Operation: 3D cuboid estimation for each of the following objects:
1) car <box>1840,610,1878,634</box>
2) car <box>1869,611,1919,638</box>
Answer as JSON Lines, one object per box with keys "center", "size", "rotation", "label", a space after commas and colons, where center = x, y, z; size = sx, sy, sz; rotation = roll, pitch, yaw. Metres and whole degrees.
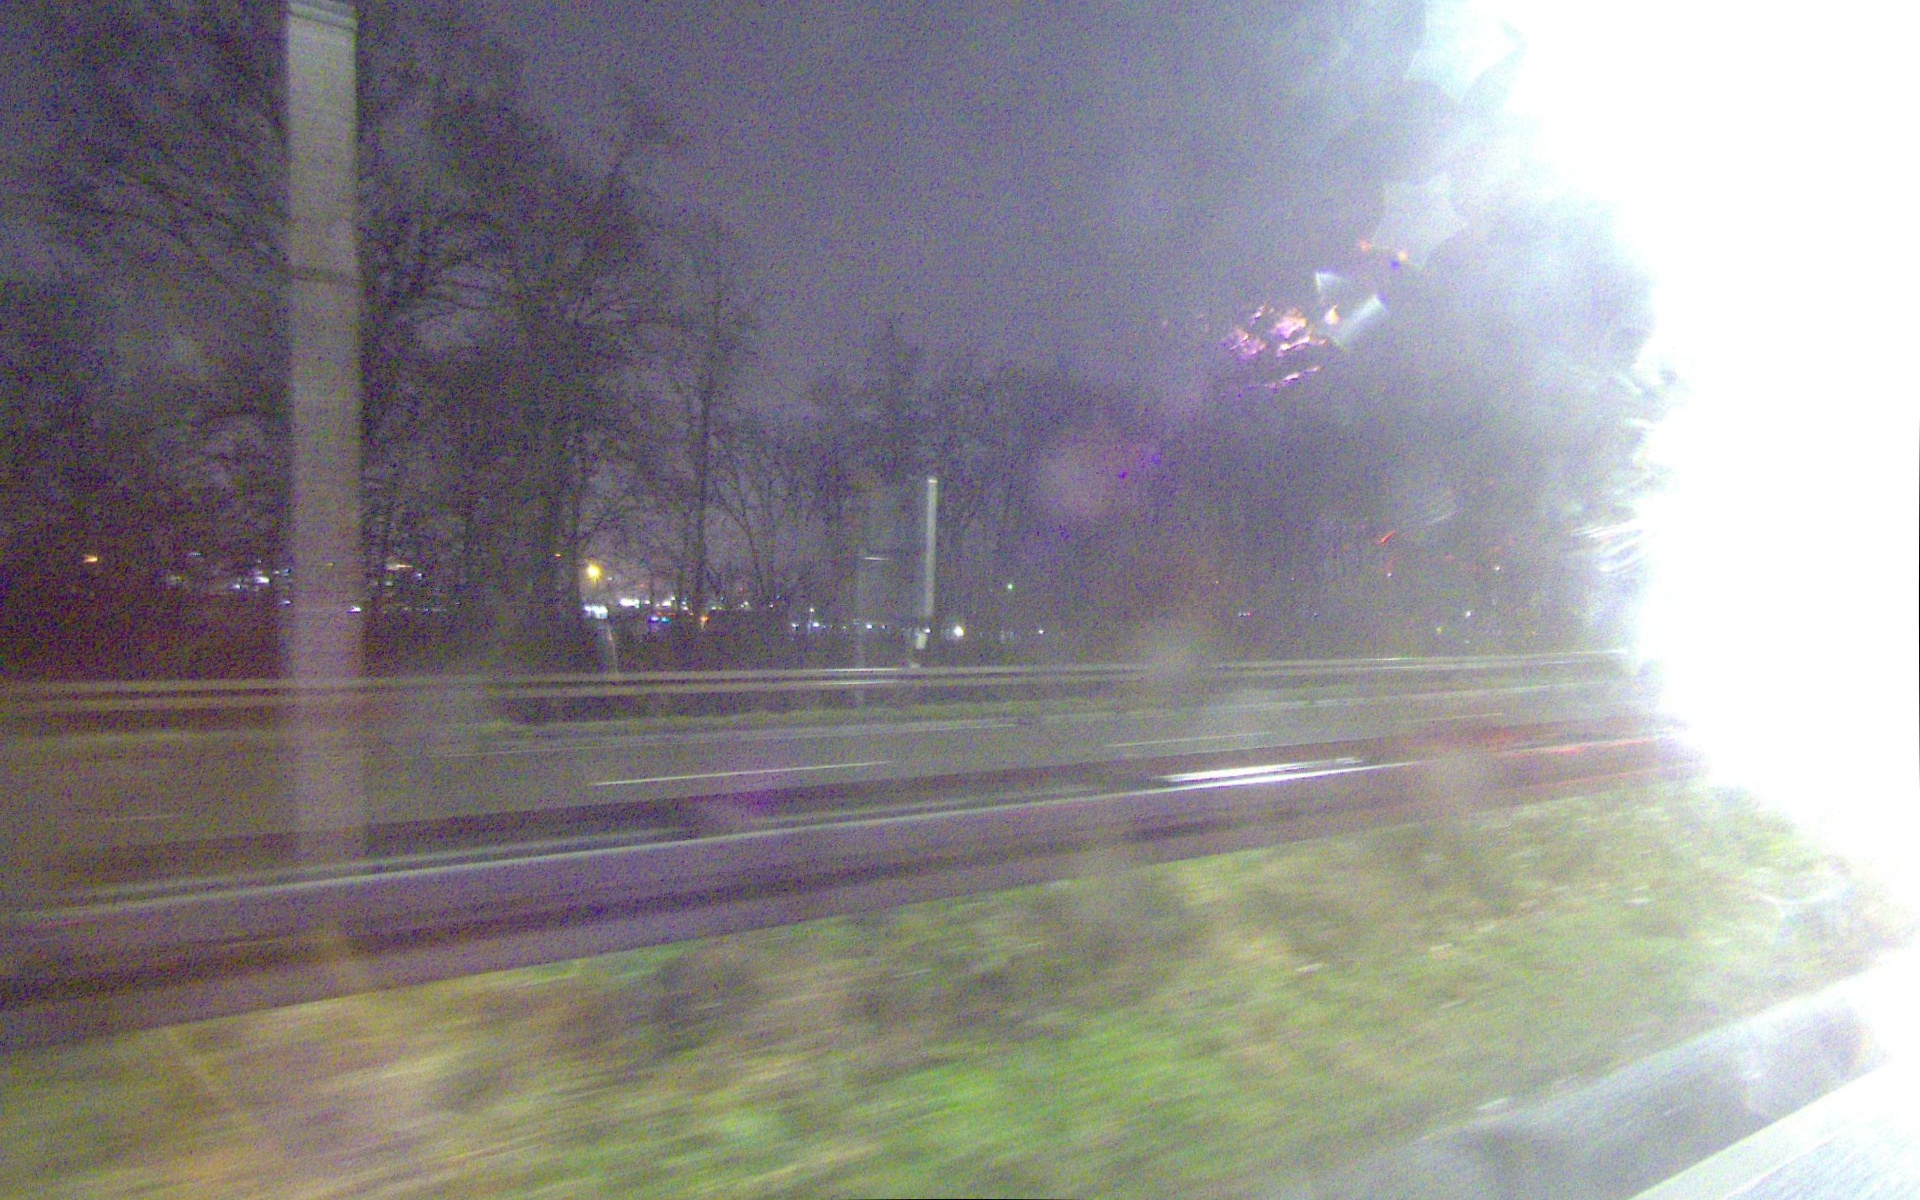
{"center": [78.844, 1.926, 88.102], "size": [1.794, 2.040, 3.991], "rotation": [0, -1, 32], "label": "car"}
{"center": [74.329, 1.952, 79.489], "size": [2.175, 2.040, 4.000], "rotation": [1, -1, 20], "label": "car"}
